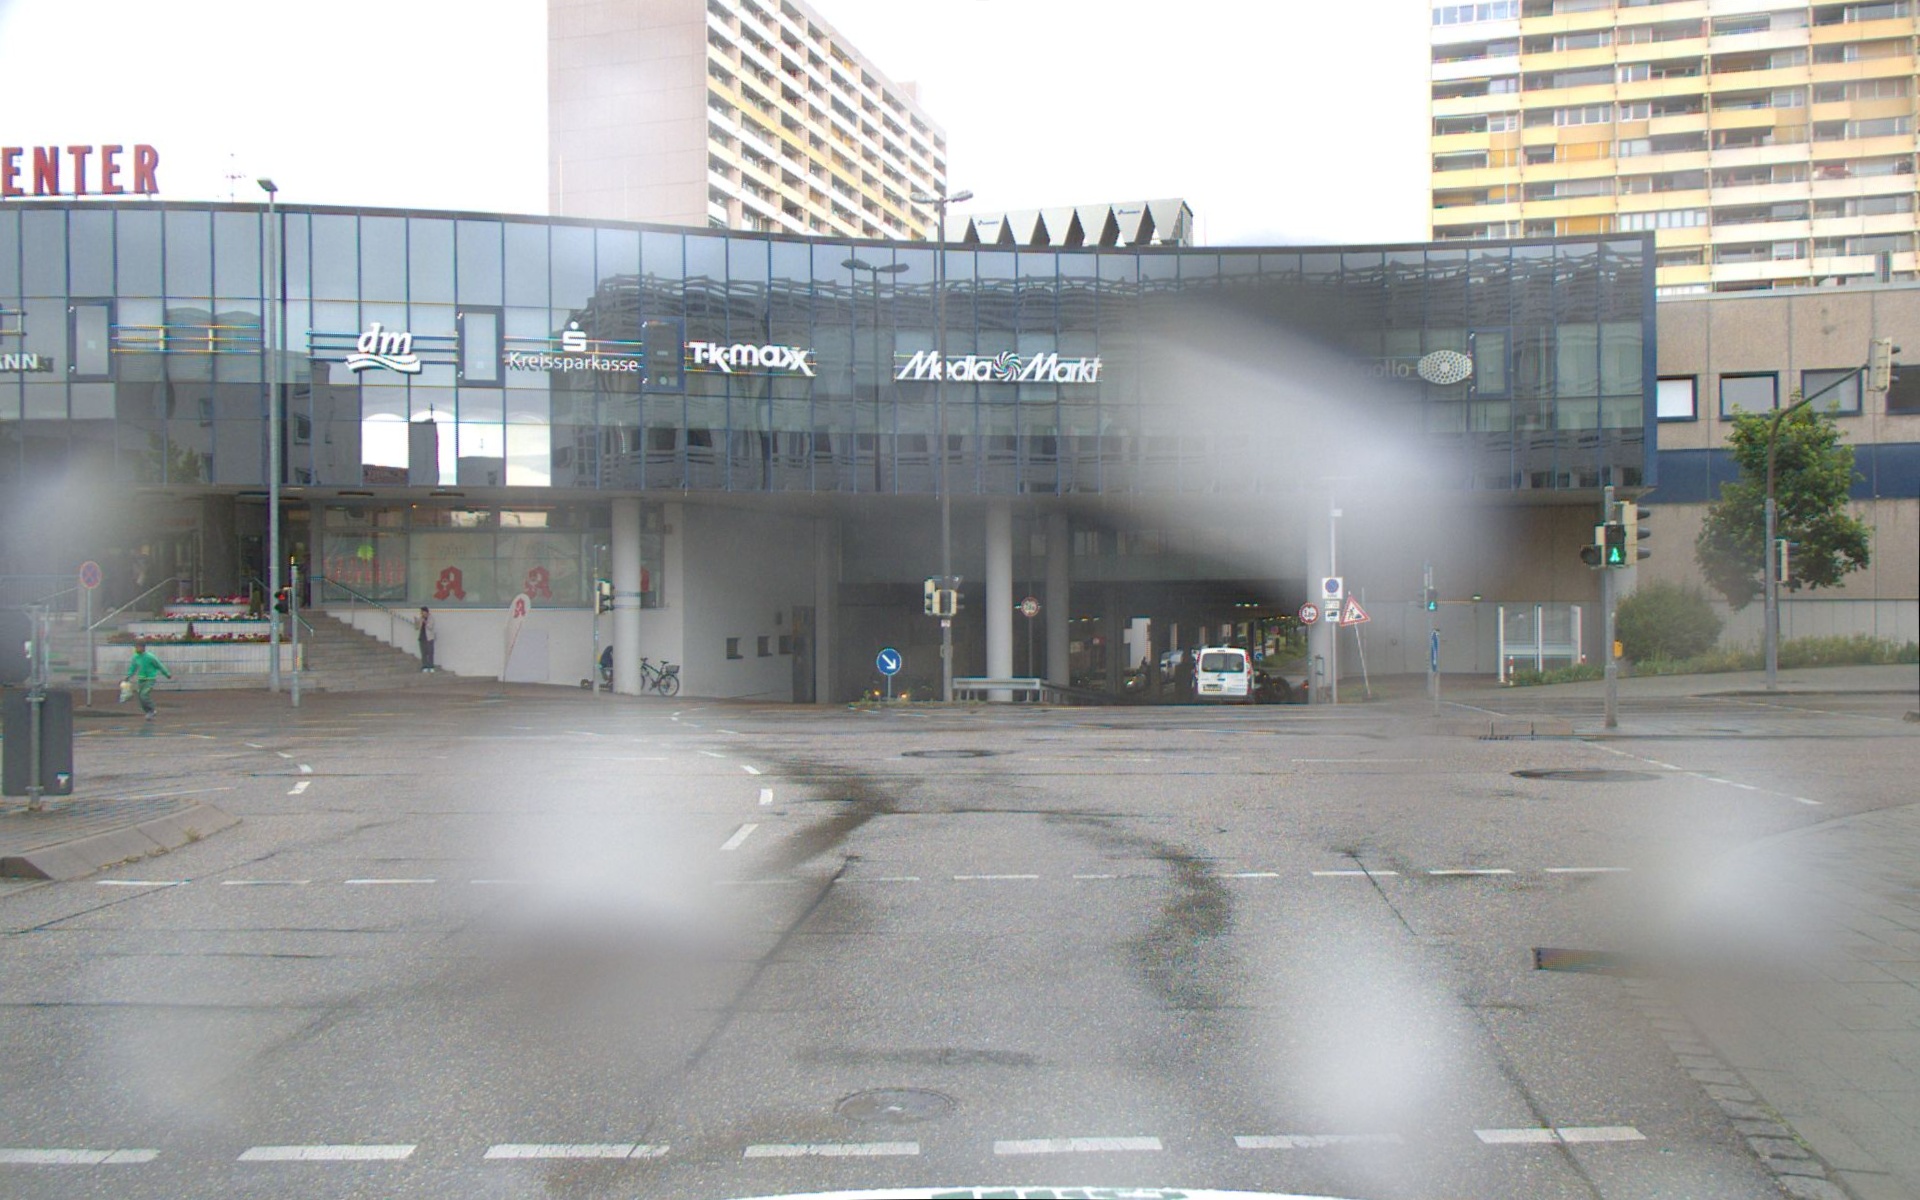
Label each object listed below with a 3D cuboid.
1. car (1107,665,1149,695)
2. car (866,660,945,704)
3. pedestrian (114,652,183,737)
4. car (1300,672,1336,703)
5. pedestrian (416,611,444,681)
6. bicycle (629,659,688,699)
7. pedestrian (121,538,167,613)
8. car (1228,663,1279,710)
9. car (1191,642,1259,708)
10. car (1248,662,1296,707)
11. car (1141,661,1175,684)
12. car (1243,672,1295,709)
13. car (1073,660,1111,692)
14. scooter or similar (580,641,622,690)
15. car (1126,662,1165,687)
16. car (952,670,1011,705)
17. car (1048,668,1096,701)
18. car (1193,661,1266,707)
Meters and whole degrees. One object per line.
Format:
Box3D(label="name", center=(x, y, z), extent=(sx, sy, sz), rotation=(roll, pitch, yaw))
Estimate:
Box3D(label="car", center=(10.360, 4.925, 101.949), extent=(1.951, 1.693, 4.003), rotation=(1, -1, 15))
Box3D(label="car", center=(-2.023, 3.119, 62.435), extent=(1.852, 1.496, 4.029), rotation=(-1, -5, 16))
Box3D(label="pedestrian", center=(-16.211, 1.871, 33.038), extent=(0.929, 1.652, 0.809), rotation=(-1, -1, 22))
Box3D(label="car", center=(19.750, 4.784, 91.118), extent=(1.847, 1.517, 3.844), rotation=(1, -1, 13))
Box3D(label="pedestrian", center=(-14.910, 1.290, 46.553), extent=(0.643, 1.942, 0.593), rotation=(1, -1, -9))
Box3D(label="bicycle", center=(-8.853, 2.334, 48.558), extent=(1.566, 1.036, 0.447), rotation=(7, -4, -32))
Box3D(label="pedestrian", center=(-22.807, -0.666, 46.232), extent=(0.813, 2.049, 0.951), rotation=(1, -1, -5))
Box3D(label="car", center=(10.877, 3.200, 61.150), extent=(1.598, 1.640, 4.265), rotation=(-2, -3, 13))
Box3D(label="car", center=(7.831, 2.184, 48.709), extent=(1.884, 1.829, 4.299), rotation=(-1, -2, 10))
Box3D(label="car", center=(13.427, 3.608, 71.043), extent=(1.753, 1.802, 4.003), rotation=(-1, -1, 14))
Box3D(label="car", center=(13.767, 5.024, 114.718), extent=(1.951, 1.489, 4.003), rotation=(-1, -1, 12))
Box3D(label="car", center=(12.411, 3.642, 66.304), extent=(1.741, 1.425, 4.002), rotation=(-1, -4, 15))
Box3D(label="car", center=(7.694, 4.420, 96.129), extent=(1.797, 1.758, 4.003), rotation=(-1, -1, 11))
Box3D(label="scooter or similar", center=(-10.422, 1.909, 48.012), extent=(1.147, 1.397, 0.487), rotation=(1, -1, -16))
Box3D(label="car", center=(12.318, 4.936, 109.615), extent=(1.951, 1.489, 4.003), rotation=(-1, -1, 15))
Box3D(label="car", center=(1.006, 3.929, 74.374), extent=(1.733, 1.490, 3.878), rotation=(-1, -3, 15))
Box3D(label="car", center=(6.198, 4.649, 91.303), extent=(1.874, 1.616, 3.941), rotation=(-1, -1, 15))
Box3D(label="car", center=(9.198, 2.898, 56.322), extent=(1.721, 1.490, 3.943), rotation=(-2, -4, 20))
